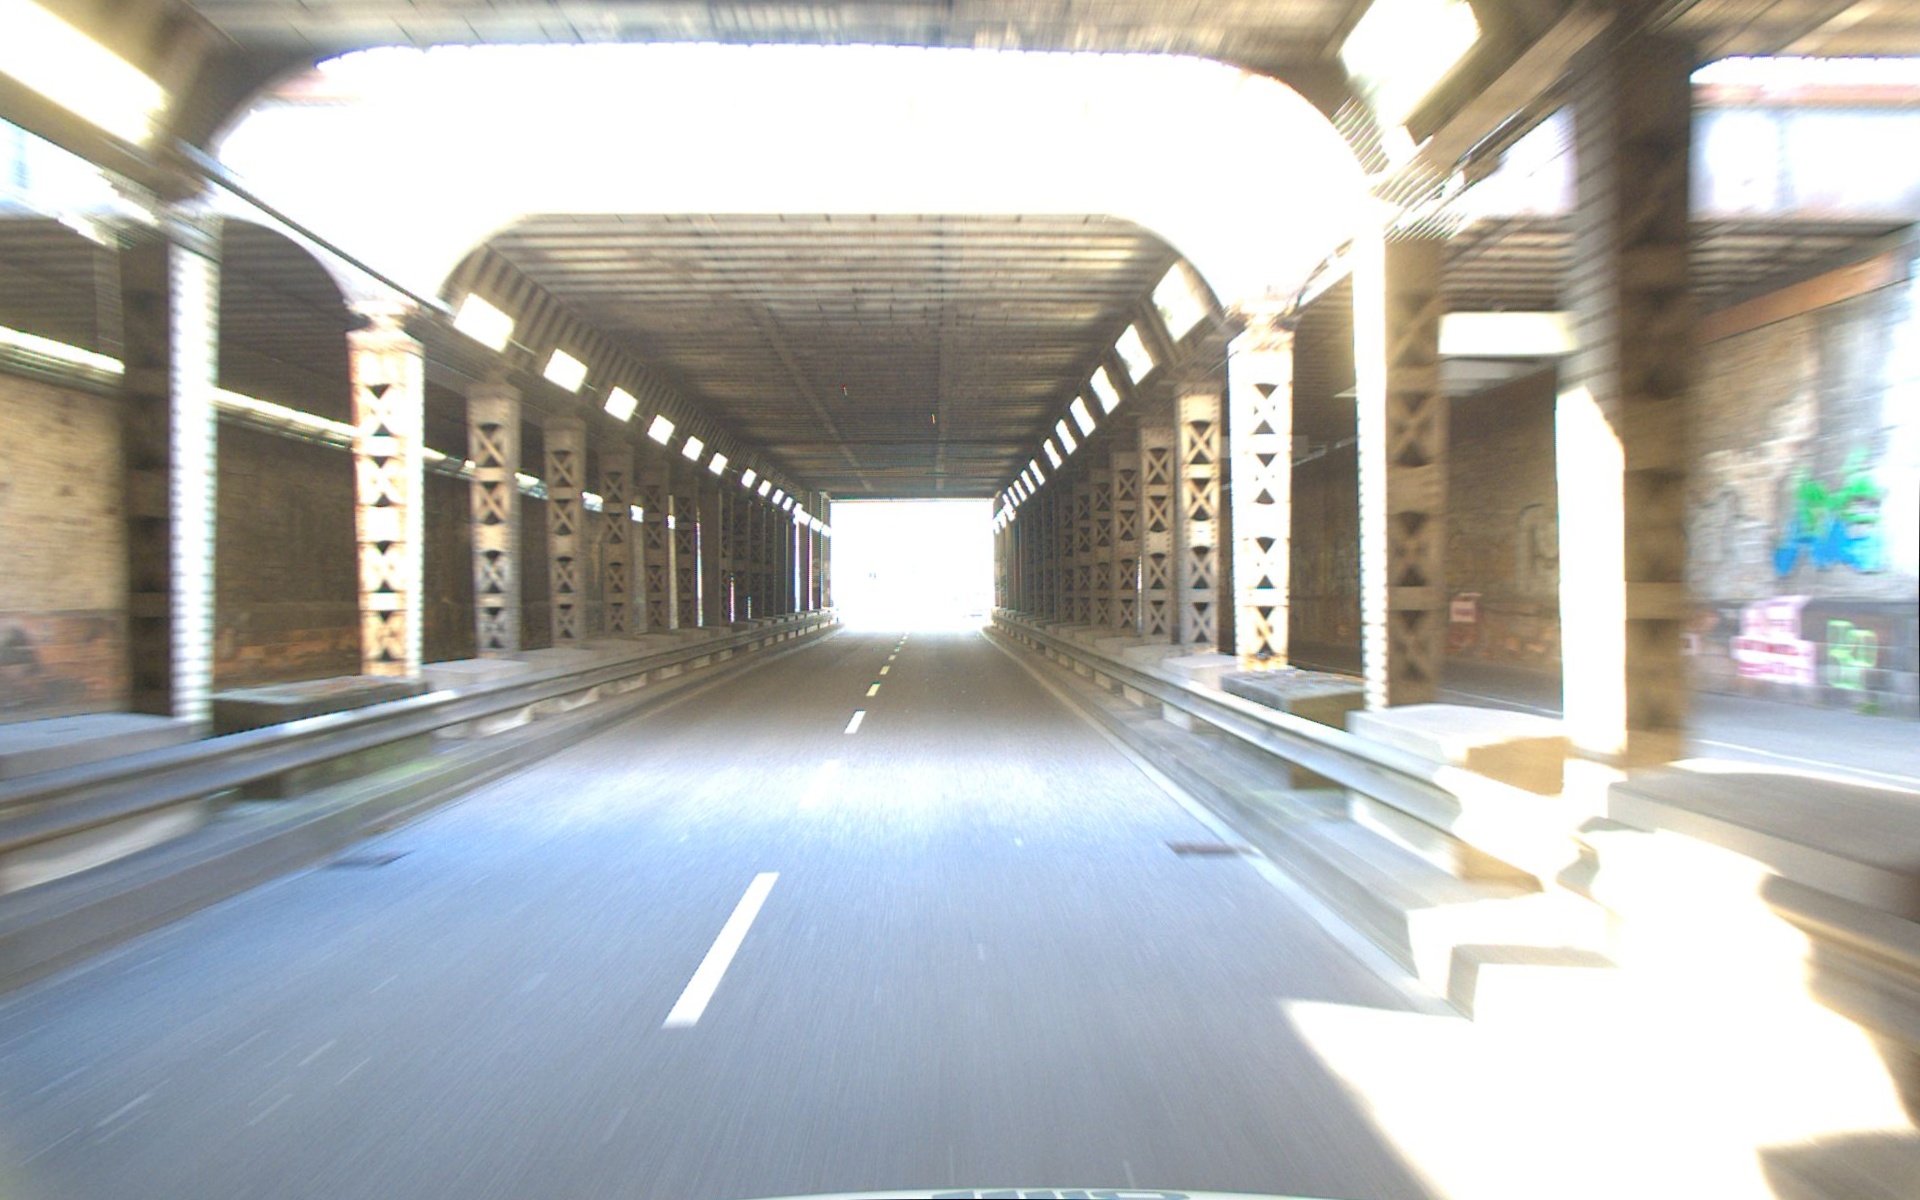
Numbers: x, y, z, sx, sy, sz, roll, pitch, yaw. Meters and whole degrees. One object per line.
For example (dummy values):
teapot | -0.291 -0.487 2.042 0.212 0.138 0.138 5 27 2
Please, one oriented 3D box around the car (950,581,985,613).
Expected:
car | 0.409 -0.163 97.914 1.953 1.815 3.999 -1 0 -1

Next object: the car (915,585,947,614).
car | -1.848 -0.055 105.194 1.953 1.815 3.999 -1 0 -1

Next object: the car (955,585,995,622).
car | 0.757 0.166 86.492 1.953 1.815 3.999 -1 0 -1
